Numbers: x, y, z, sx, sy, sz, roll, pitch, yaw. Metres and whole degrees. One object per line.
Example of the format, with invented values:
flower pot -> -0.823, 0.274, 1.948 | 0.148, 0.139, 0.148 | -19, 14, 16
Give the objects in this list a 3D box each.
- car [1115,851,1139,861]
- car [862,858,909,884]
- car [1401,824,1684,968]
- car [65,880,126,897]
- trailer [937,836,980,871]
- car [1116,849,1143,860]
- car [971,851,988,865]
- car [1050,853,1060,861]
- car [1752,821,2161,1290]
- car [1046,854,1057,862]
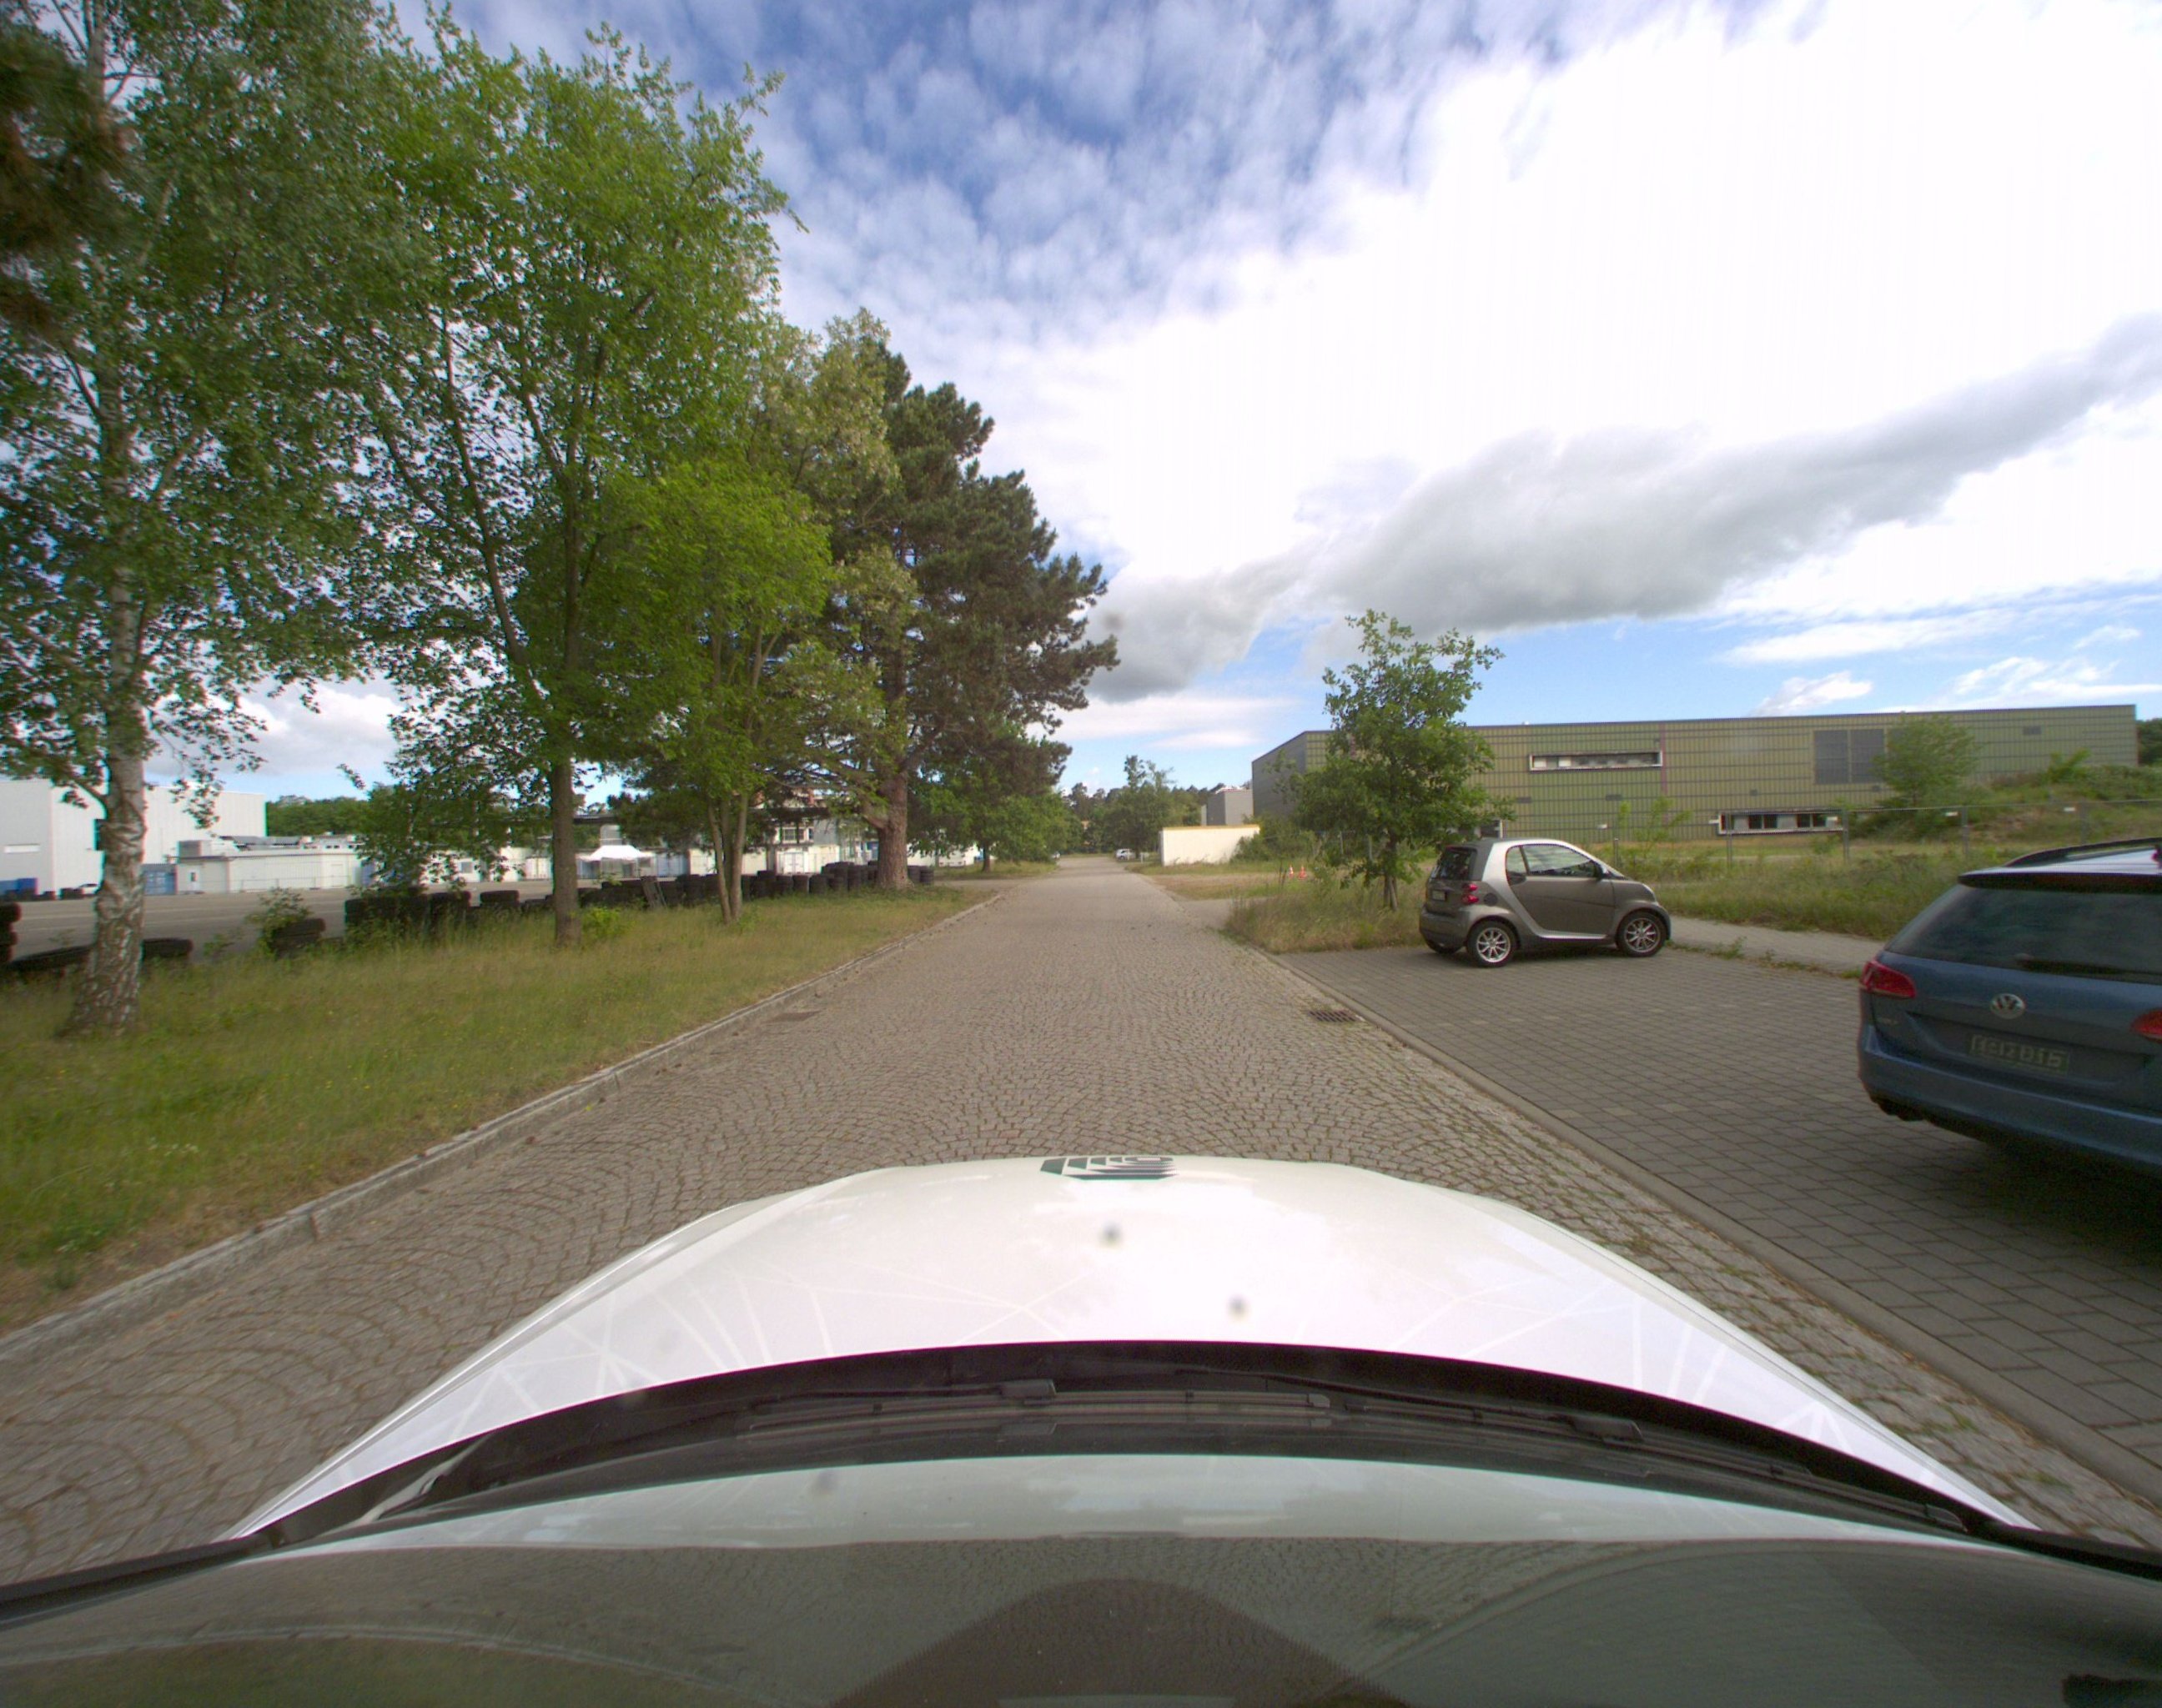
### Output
car -> 6.795, 0.280, 120.496 | 3.510, 1.362, 1.623 | -4, 0, 1
car -> -12.492, 1.054, 52.331 | 1.617, 1.433, 4.071 | -2, 1, 6
car -> 5.903, 0.511, 10.680 | 2.700, 1.556, 1.654 | -4, 0, 1
car -> -101.993, 3.544, 84.284 | 4.090, 1.633, 1.831 | -2, 0, 1
trailer -> -13.424, -0.105, 90.275 | 2.614, 3.598, 10.186 | -2, 0, 3
car -> 7.376, 0.086, 123.187 | 3.970, 1.448, 1.654 | -4, 0, 1
car -> -16.158, 0.622, 130.195 | 1.986, 2.013, 4.769 | -2, 0, 1
car -> -4.855, 0.592, 152.488 | 1.642, 1.458, 3.998 | -2, 0, 1
car -> 5.763, 0.562, 3.378 | 4.479, 1.475, 1.829 | -4, 0, -2
car -> -5.154, 0.672, 142.146 | 1.642, 1.369, 3.998 | -2, 0, 1
